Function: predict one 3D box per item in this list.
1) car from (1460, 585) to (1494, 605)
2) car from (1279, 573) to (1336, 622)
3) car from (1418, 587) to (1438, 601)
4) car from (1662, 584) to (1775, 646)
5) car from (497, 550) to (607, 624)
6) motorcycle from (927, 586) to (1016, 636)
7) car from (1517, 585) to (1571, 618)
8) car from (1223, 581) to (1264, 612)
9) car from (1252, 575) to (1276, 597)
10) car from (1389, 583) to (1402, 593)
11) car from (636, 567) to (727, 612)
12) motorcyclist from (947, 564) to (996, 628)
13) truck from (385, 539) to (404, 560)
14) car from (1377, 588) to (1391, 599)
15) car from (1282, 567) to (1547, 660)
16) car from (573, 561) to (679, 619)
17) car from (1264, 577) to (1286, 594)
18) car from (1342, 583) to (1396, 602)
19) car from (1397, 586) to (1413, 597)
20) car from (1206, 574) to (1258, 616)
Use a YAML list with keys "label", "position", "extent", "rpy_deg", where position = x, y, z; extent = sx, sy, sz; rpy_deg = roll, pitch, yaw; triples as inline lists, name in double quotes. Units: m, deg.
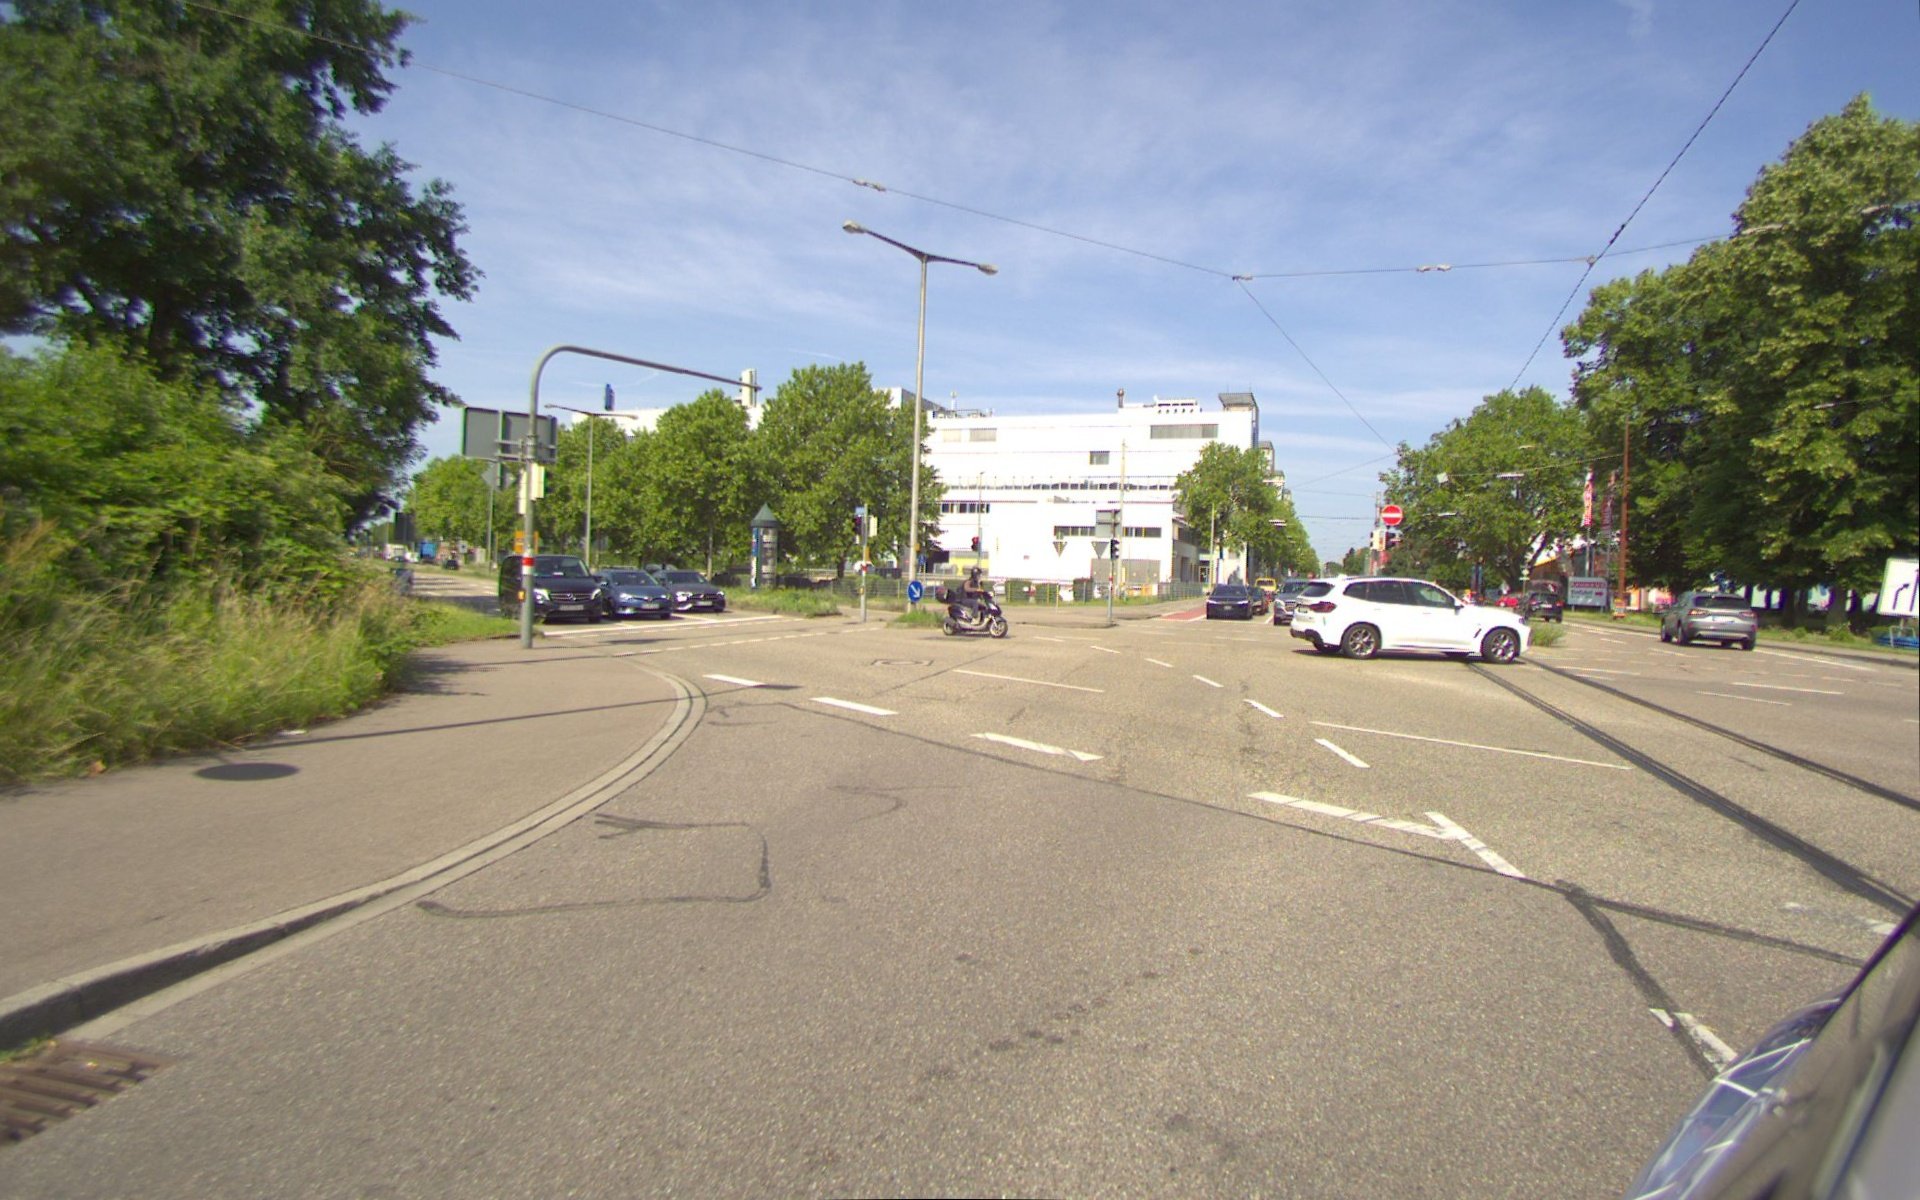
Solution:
- label: "car"
  position: [41.459, -0.446, 81.248]
  extent: [1.828, 1.529, 4.367]
  rpy_deg: [2, 1, 19]
- label: "car"
  position: [13.318, -0.129, 38.809]
  extent: [1.891, 1.709, 4.598]
  rpy_deg: [2, 1, 19]
- label: "car"
  position: [57.692, -0.768, 124.729]
  extent: [1.828, 1.529, 4.315]
  rpy_deg: [2, 1, 20]
- label: "car"
  position: [22.999, 0.379, 30.877]
  extent: [1.979, 1.671, 4.611]
  rpy_deg: [2, 2, 27]
- label: "car"
  position: [-11.167, -0.394, 27.559]
  extent: [1.821, 1.837, 4.000]
  rpy_deg: [1, 2, -36]
- label: "motorcycle"
  position: [0.260, 0.235, 23.803]
  extent: [2.029, 1.096, 0.728]
  rpy_deg: [2, 1, 33]
- label: "car"
  position: [31.343, 0.036, 54.440]
  extent: [1.793, 1.625, 4.348]
  rpy_deg: [2, 2, 21]
- label: "car"
  position: [14.641, -0.214, 52.144]
  extent: [1.759, 1.461, 4.598]
  rpy_deg: [2, 2, 19]
- label: "car"
  position: [26.241, -1.221, 87.190]
  extent: [1.759, 1.832, 4.598]
  rpy_deg: [2, 1, 19]
- label: "car"
  position: [74.887, -2.094, 173.966]
  extent: [1.828, 1.529, 4.315]
  rpy_deg: [2, 1, 20]
- label: "car"
  position: [-9.668, -0.426, 34.878]
  extent: [1.687, 1.395, 4.474]
  rpy_deg: [-1, 3, -34]
- label: "motorcyclist"
  position: [0.270, -0.109, 23.796]
  extent: [0.866, 1.464, 0.729]
  rpy_deg: [2, 1, 33]
- label: "truck"
  position: [-106.641, -9.492, 190.671]
  extent: [2.794, 3.622, 8.729]
  rpy_deg: [1, 2, -31]
- label: "car"
  position: [68.461, -1.064, 163.610]
  extent: [1.828, 1.529, 4.315]
  rpy_deg: [2, 1, 20]
- label: "car"
  position: [9.261, 0.244, 20.893]
  extent: [4.538, 1.710, 1.917]
  rpy_deg: [2, 1, -1]
- label: "car"
  position: [-9.996, -0.333, 30.139]
  extent: [1.821, 1.581, 4.000]
  rpy_deg: [1, 2, -36]
- label: "car"
  position: [32.425, -1.496, 104.170]
  extent: [1.892, 1.709, 4.596]
  rpy_deg: [2, 1, 20]
- label: "car"
  position: [39.396, -0.749, 97.588]
  extent: [4.557, 1.710, 1.908]
  rpy_deg: [2, 1, 13]
- label: "car"
  position: [65.814, -1.217, 149.580]
  extent: [1.828, 1.529, 4.315]
  rpy_deg: [2, 1, 20]
- label: "car"
  position: [12.179, -0.269, 45.092]
  extent: [1.891, 1.709, 4.598]
  rpy_deg: [2, 1, 19]
